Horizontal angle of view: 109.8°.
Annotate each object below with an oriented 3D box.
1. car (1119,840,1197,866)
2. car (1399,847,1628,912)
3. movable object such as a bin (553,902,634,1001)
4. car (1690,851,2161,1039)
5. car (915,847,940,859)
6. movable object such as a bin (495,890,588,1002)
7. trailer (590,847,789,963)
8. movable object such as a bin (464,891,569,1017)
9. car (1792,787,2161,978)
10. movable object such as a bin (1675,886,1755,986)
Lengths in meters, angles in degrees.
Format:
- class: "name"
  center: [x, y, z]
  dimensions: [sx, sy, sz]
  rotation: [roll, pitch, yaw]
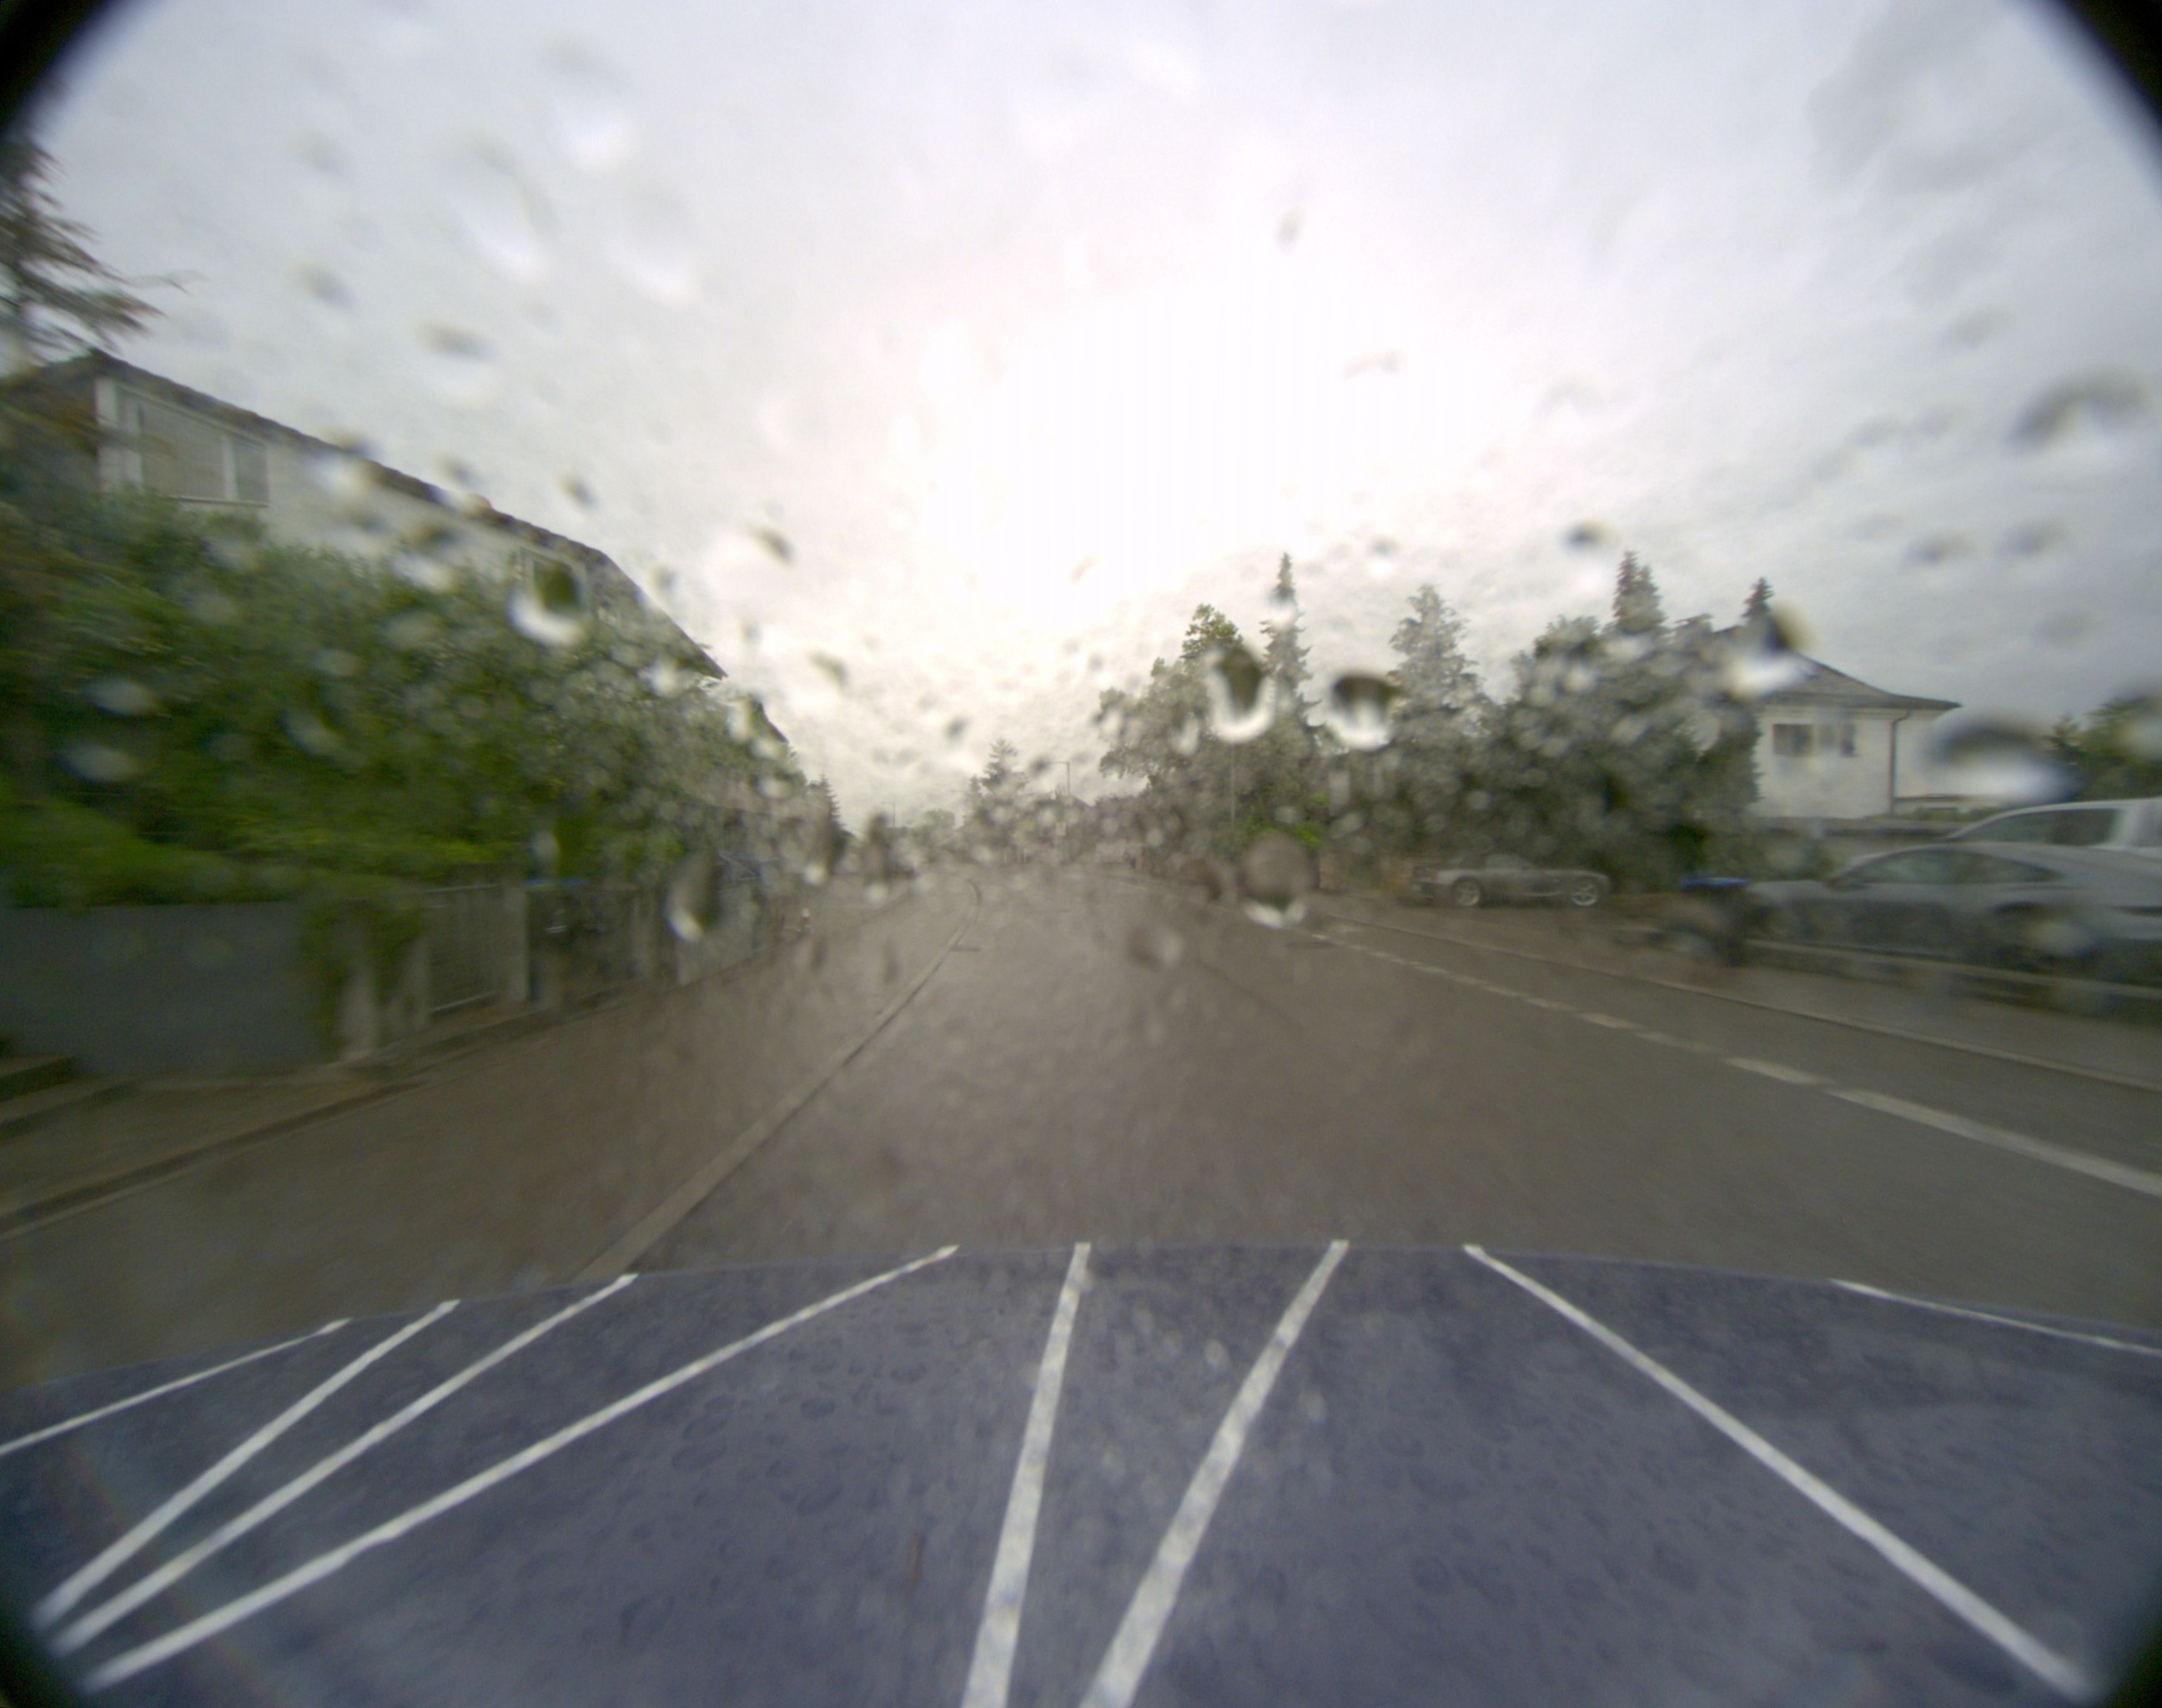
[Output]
- class: "car"
  center: [4.908, -0.080, 48.497]
  dimensions: [4.558, 1.467, 1.836]
  rotation: [-2, 1, -17]
- class: "car"
  center: [9.440, 0.527, 16.837]
  dimensions: [3.996, 1.264, 1.874]
  rotation: [-1, 1, 2]
- class: "movable object such as a bin"
  center: [-4.848, 0.959, 7.583]
  dimensions: [0.493, 0.917, 0.457]
  rotation: [-1, 1, -1]
- class: "car"
  center: [8.662, 0.645, 7.282]
  dimensions: [1.999, 1.300, 4.432]
  rotation: [-1, 1, -2]
- class: "car"
  center: [-20.416, -0.118, 101.335]
  dimensions: [3.039, 1.472, 1.453]
  rotation: [-2, 1, -5]
- class: "movable object such as a bin"
  center: [-5.347, 0.895, 7.560]
  dimensions: [0.493, 1.040, 0.576]
  rotation: [-1, 1, -1]
- class: "trailer"
  center: [-6.505, 0.783, 12.898]
  dimensions: [2.361, 1.738, 1.999]
  rotation: [-1, 1, -5]
- class: "movable object such as a bin"
  center: [-5.044, 0.876, 6.820]
  dimensions: [0.493, 1.040, 0.576]
  rotation: [-1, 1, -1]
- class: "car"
  center: [11.370, 0.243, 8.293]
  dimensions: [1.999, 1.833, 5.477]
  rotation: [-1, 1, -1]
- class: "movable object such as a bin"
  center: [6.660, 0.842, 7.999]
  dimensions: [0.371, 0.982, 0.558]
  rotation: [-1, 1, -4]
